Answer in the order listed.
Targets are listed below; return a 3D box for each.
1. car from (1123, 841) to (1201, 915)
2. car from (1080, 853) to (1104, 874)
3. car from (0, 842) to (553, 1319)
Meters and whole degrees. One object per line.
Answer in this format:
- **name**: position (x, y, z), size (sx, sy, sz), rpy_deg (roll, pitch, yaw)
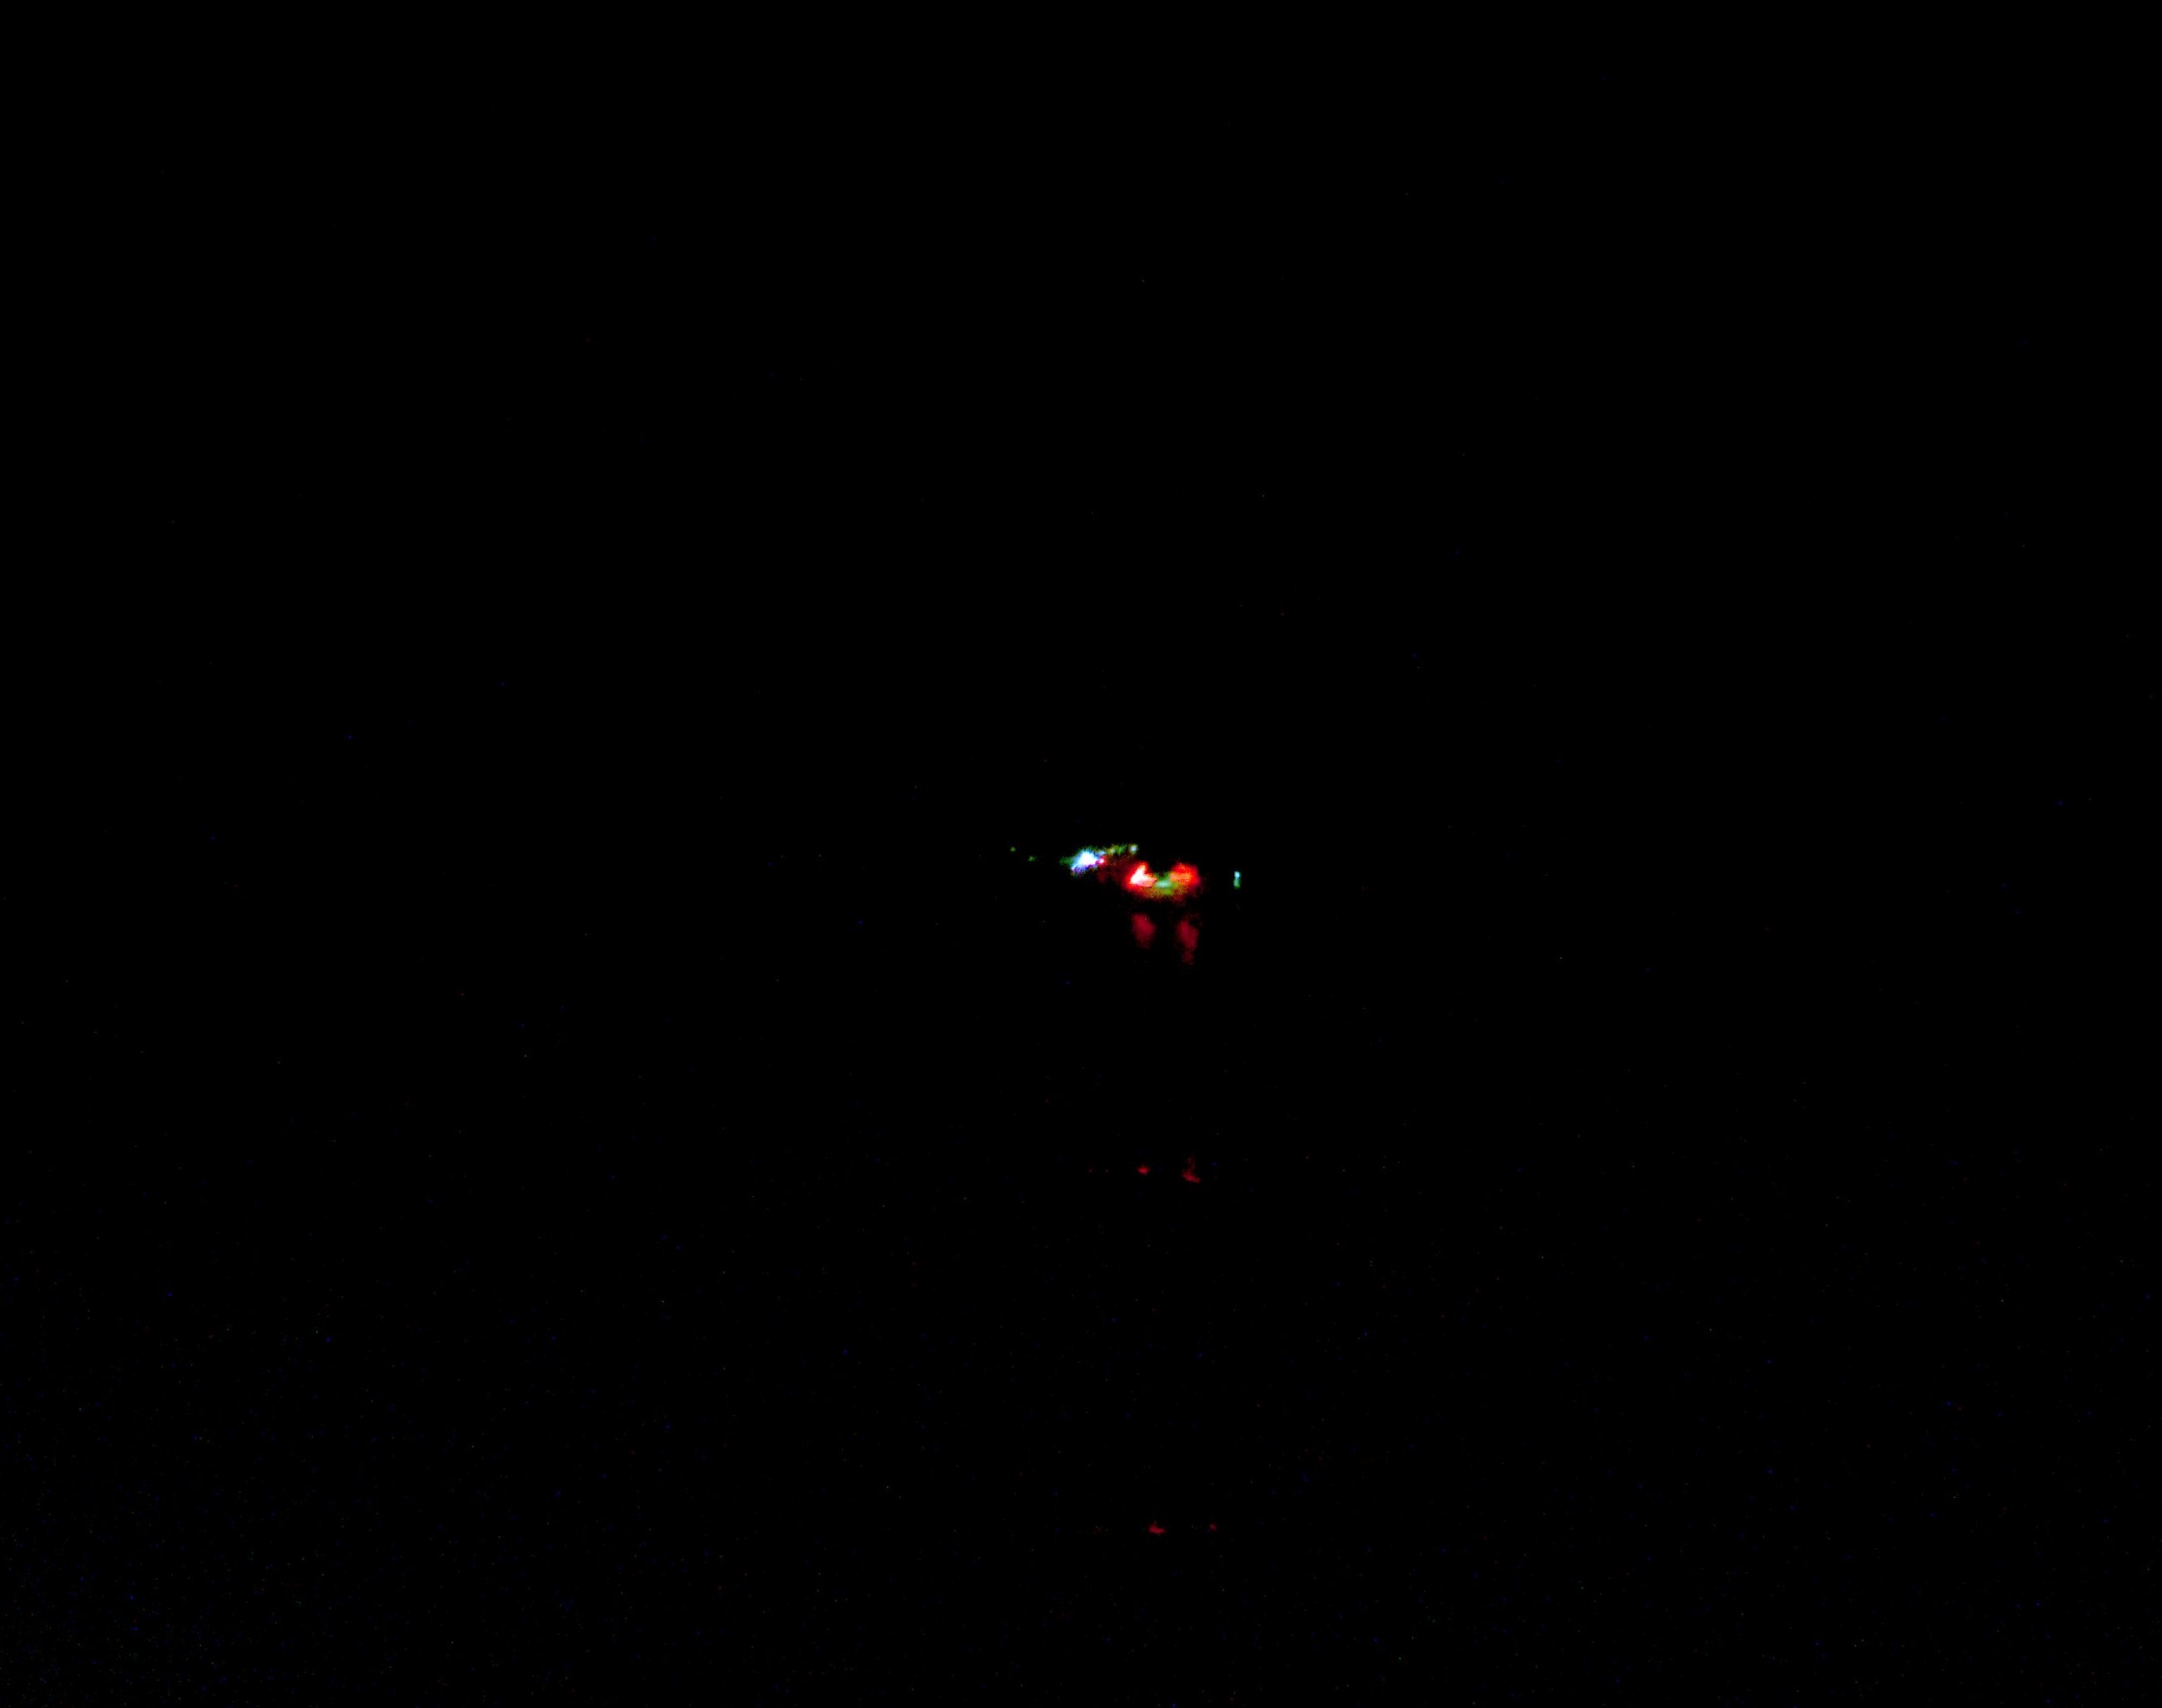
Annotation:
- **car**: position (2.308, 0.669, 24.290), size (2.085, 2.013, 4.003), rpy_deg (0, 0, 2)
- **car**: position (0.903, 0.751, 65.706), size (1.802, 1.621, 4.000), rpy_deg (-1, 0, 1)
- **car**: position (-4.561, 0.756, 3.102), size (1.986, 1.576, 4.662), rpy_deg (0, 0, 1)
